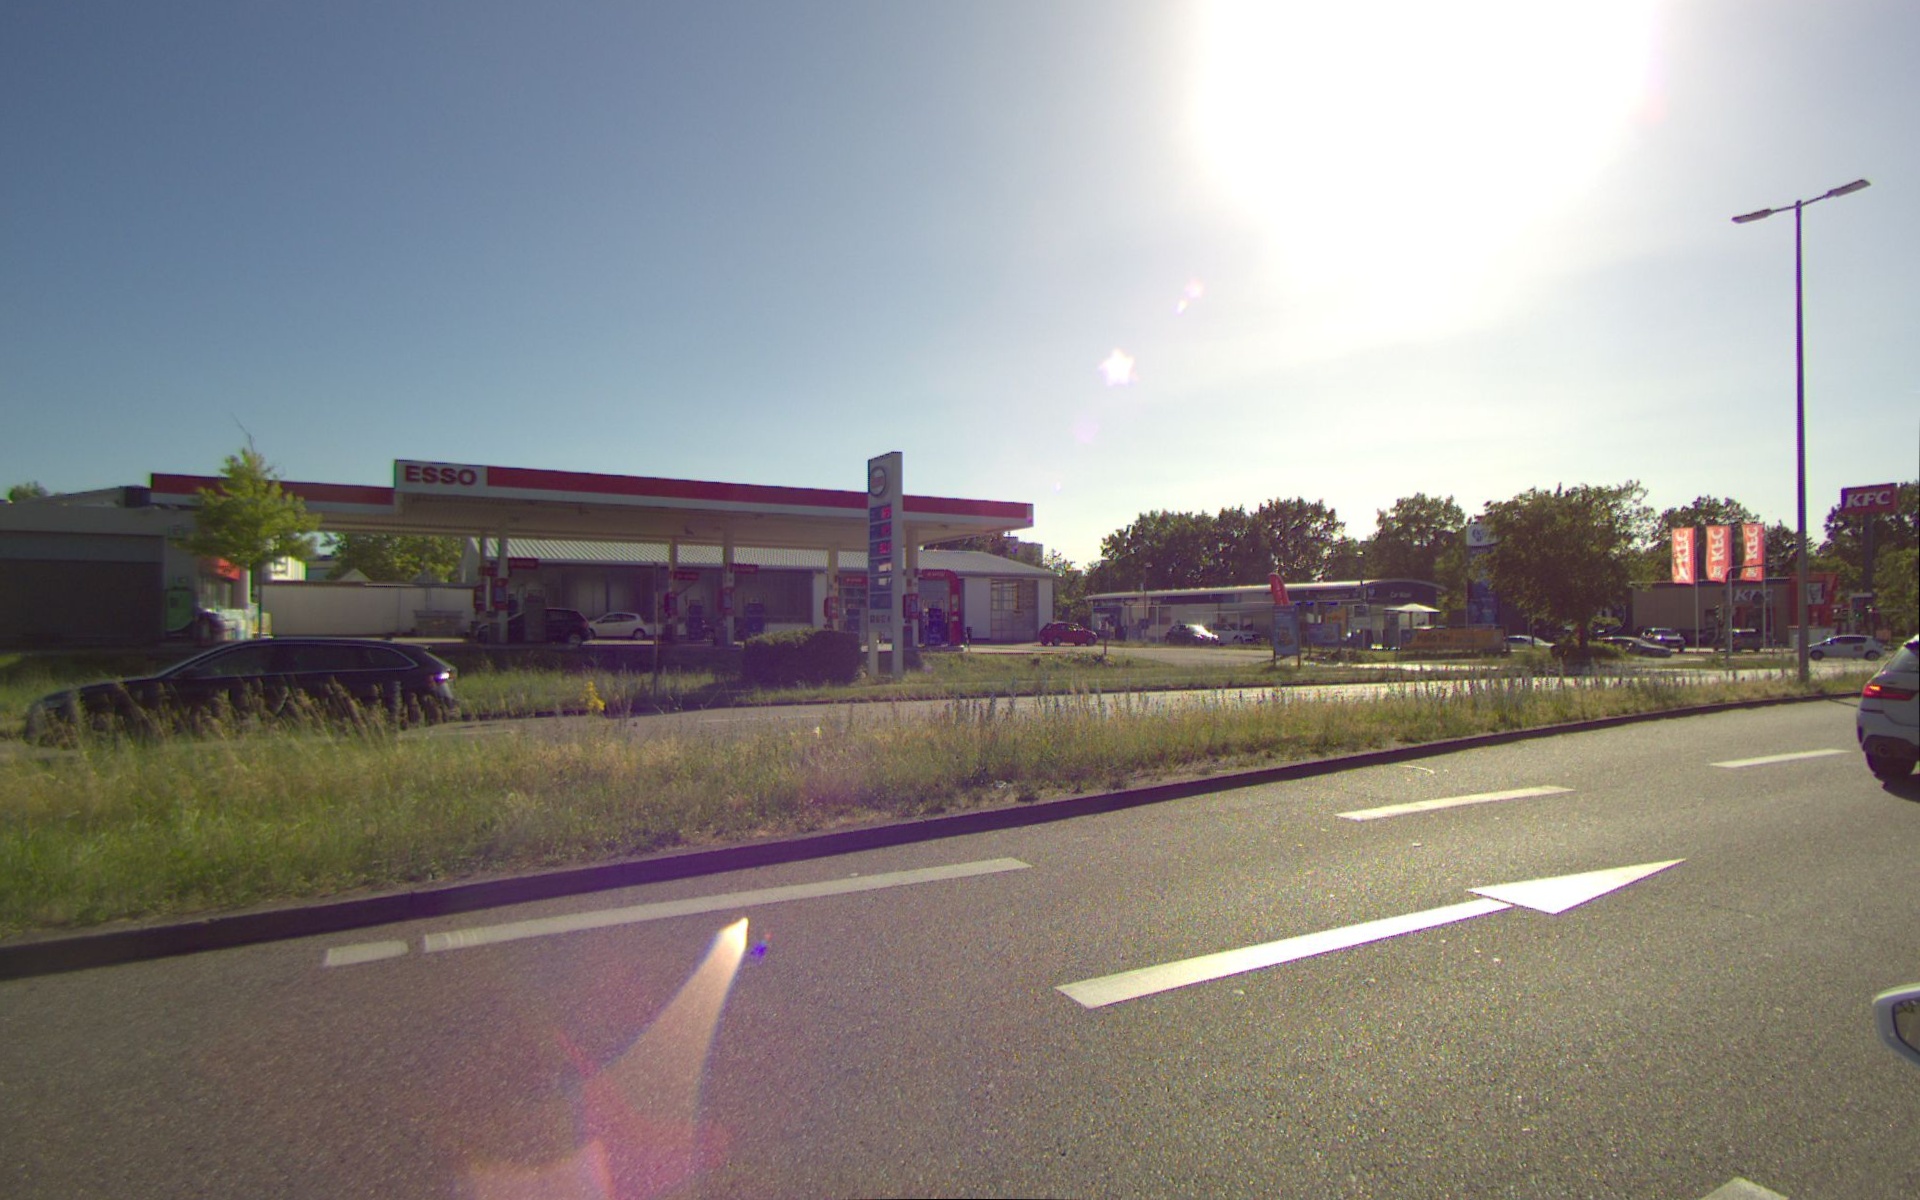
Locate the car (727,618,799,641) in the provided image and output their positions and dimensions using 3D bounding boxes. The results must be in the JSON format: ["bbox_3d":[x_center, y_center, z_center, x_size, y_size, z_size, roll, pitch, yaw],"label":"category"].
[{"bbox_3d":[-11.183,1.671,57.155,3.688,1.203,1.667,2,0,-30],"label":"car"}]

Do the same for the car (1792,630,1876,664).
[{"bbox_3d":[52.837,2.807,60.817,3.714,1.837,1.992,1,0,38],"label":"car"}]

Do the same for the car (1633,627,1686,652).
[{"bbox_3d":[53.107,2.989,76.353,1.896,1.763,4.099,2,0,14],"label":"car"}]

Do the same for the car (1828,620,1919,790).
[{"bbox_3d":[10.650,1.012,9.906,4.543,1.506,1.803,2,0,-31],"label":"car"}]

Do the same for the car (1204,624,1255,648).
[{"bbox_3d":[17.970,2.419,67.095,1.516,1.460,3.123,2,0,-31],"label":"car"}]

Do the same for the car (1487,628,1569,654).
[{"bbox_3d":[39.225,2.838,69.449,1.914,1.600,4.599,2,0,-31],"label":"car"}]

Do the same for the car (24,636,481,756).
[{"bbox_3d":[-8.923,1.200,13.200,4.627,1.351,1.638,2,-5,-31],"label":"car"}]

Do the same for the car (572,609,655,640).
[{"bbox_3d":[-18.263,1.277,52.983,3.812,1.508,1.984,2,0,-30],"label":"car"}]

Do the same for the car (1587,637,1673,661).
[{"bbox_3d":[42.011,3.048,63.056,1.850,1.268,4.062,2,0,-31],"label":"car"}]

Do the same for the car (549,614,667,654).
[{"bbox_3d":[-13.359,1.276,38.149,3.953,1.423,1.984,1,-2,-31],"label":"car"}]

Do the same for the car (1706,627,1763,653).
[{"bbox_3d":[57.888,2.951,75.161,1.896,1.763,4.099,2,0,14],"label":"car"}]

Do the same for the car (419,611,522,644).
[{"bbox_3d":[-24.335,1.365,49.987,4.489,1.486,1.984,2,0,-30],"label":"car"}]

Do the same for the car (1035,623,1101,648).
[{"bbox_3d":[6.897,2.269,64.336,3.949,1.491,1.521,2,0,-24],"label":"car"}]
